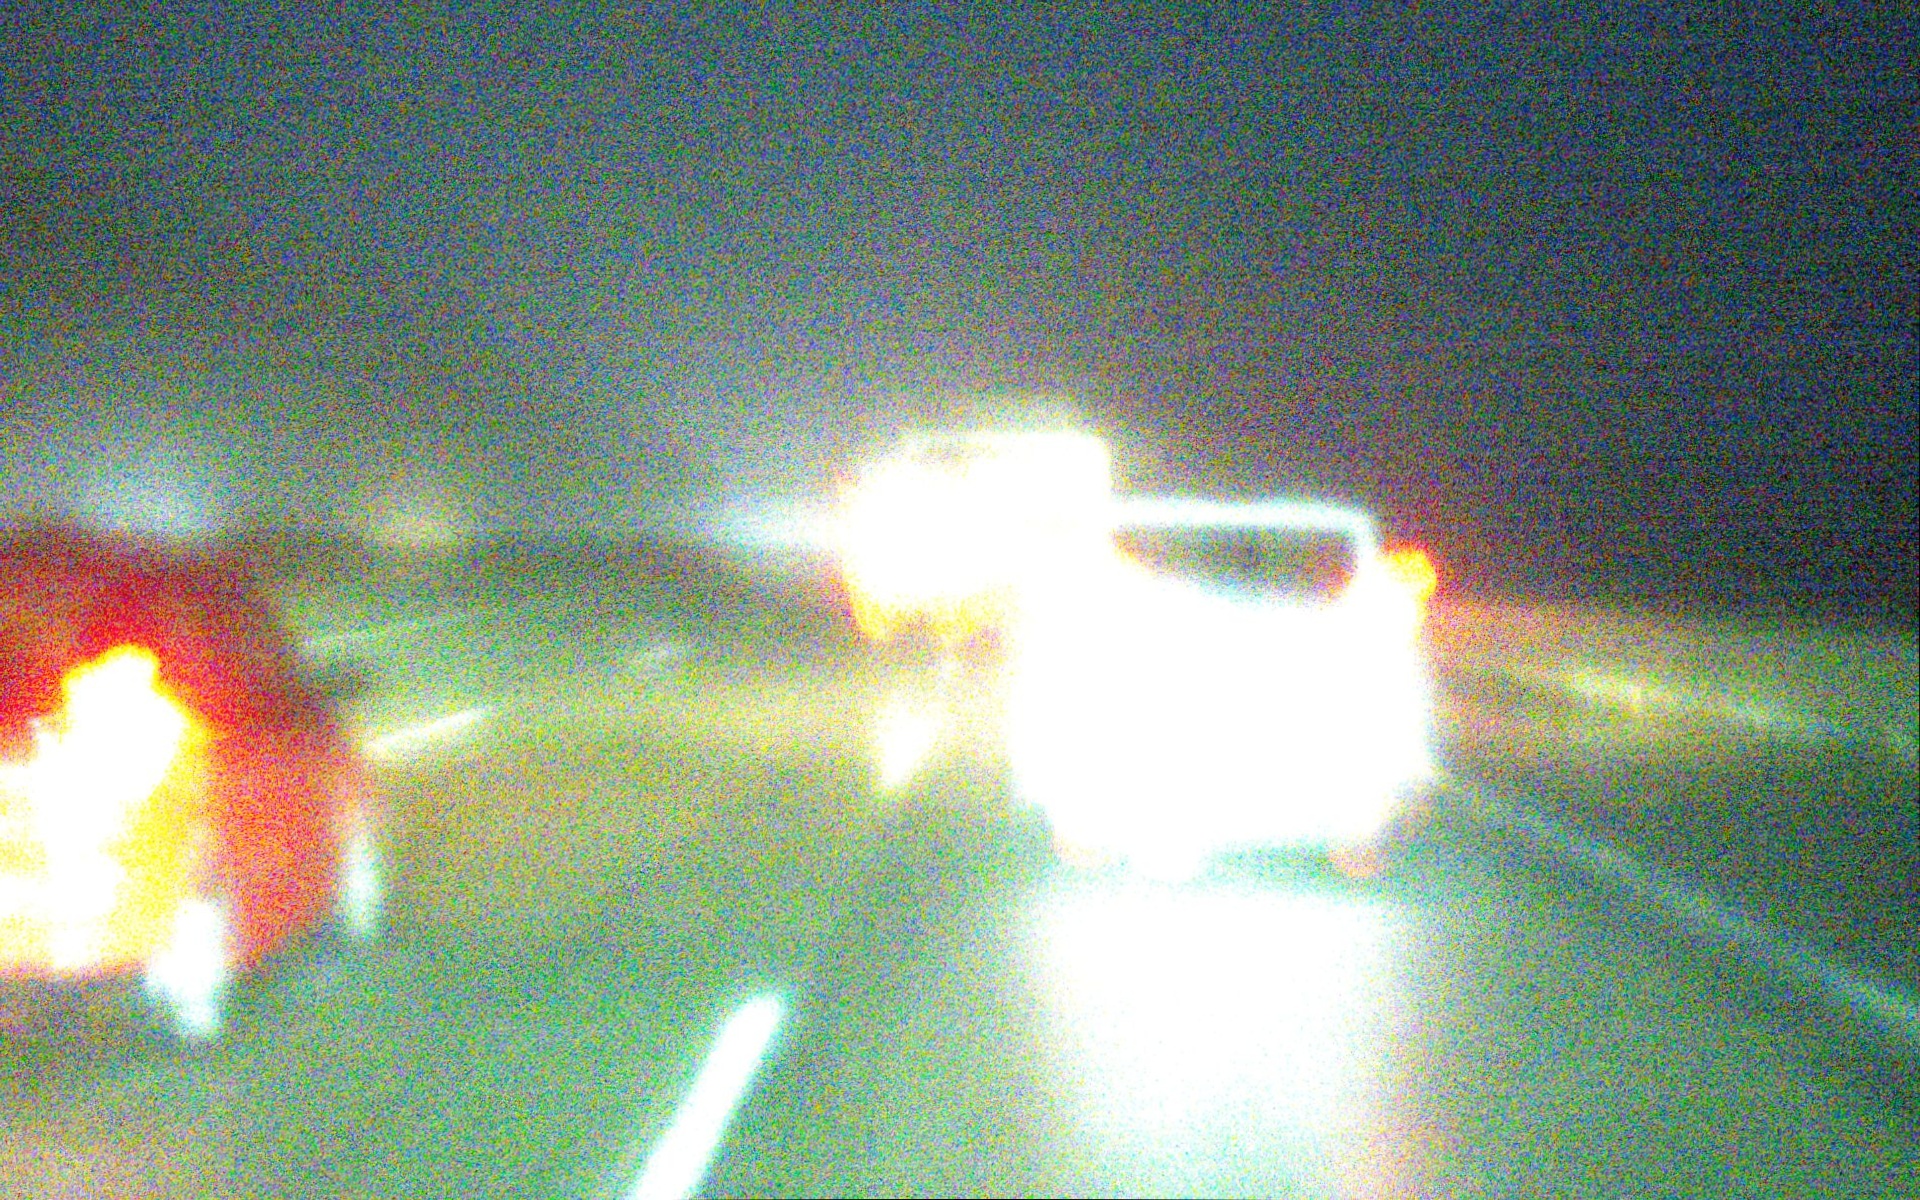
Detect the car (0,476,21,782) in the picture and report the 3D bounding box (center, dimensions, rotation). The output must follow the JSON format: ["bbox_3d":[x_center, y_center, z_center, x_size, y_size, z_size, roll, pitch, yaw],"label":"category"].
[{"bbox_3d":[-6.581,0.176,17.854,1.993,1.771,4.887,0,0,1],"label":"car"}]

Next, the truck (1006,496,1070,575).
[{"bbox_3d":[4.940,-4.070,221.116,3.824,4.898,11.606,1,0,0],"label":"truck"}]

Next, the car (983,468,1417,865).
[{"bbox_3d":[1.133,0.282,18.196,1.953,1.786,5.124,0,0,1],"label":"car"}]

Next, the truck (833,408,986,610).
[{"bbox_3d":[-1.382,-2.552,101.064,4.167,5.525,13.074,0,0,0],"label":"truck"}]

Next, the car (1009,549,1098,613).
[{"bbox_3d":[2.218,-0.472,82.485,1.890,1.349,4.000,4,1,0],"label":"car"}]

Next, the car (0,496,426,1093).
[{"bbox_3d":[-3.059,0.497,11.301,1.916,1.589,4.233,0,0,0],"label":"car"}]
